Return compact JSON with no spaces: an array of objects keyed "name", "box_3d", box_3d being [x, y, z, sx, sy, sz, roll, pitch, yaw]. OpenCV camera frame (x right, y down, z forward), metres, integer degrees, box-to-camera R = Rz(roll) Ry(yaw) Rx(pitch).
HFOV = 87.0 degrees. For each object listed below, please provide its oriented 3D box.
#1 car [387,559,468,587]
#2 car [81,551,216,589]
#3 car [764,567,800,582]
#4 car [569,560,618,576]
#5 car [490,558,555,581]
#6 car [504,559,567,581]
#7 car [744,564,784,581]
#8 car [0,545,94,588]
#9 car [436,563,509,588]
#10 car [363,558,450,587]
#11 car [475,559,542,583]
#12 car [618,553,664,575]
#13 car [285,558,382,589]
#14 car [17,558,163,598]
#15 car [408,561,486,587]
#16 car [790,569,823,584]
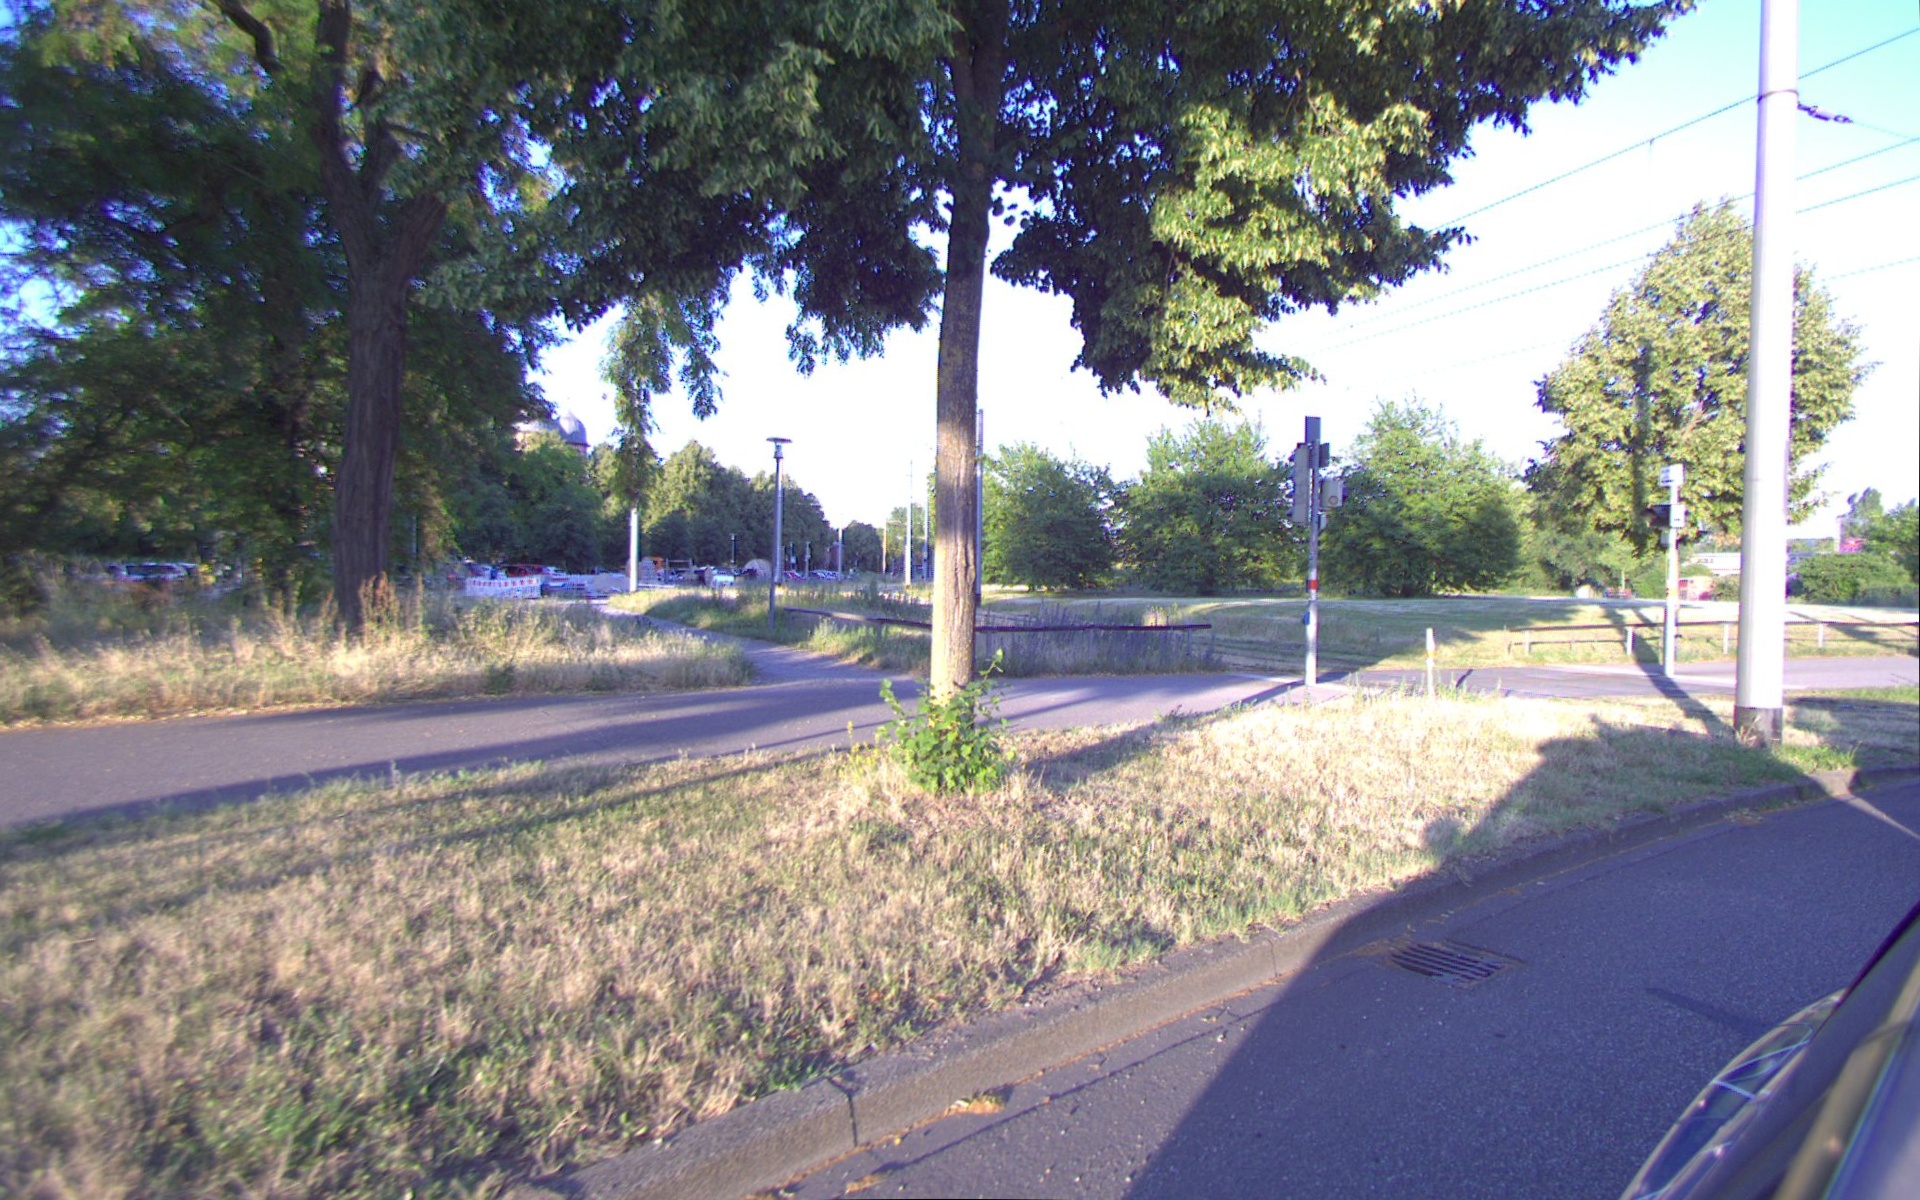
[{"name":"car","box_3d":[-32.124,-1.638,61.162,3.923,1.573,1.904,1,1,-1]},{"name":"car","box_3d":[-32.915,-1.209,41.117,3.923,1.463,1.954,1,1,-1]},{"name":"car","box_3d":[-18.604,-2.667,105.840,3.540,1.500,1.712,2,0,-4]},{"name":"car","box_3d":[-31.686,-2.805,87.564,3.606,1.370,1.802,0,2,-4]},{"name":"car","box_3d":[-31.698,-2.211,73.369,3.923,1.573,1.904,1,1,-1]},{"name":"car","box_3d":[-31.781,-2.250,75.814,3.923,1.573,1.904,1,1,-1]},{"name":"car","box_3d":[-18.589,-2.624,96.271,3.540,1.500,1.712,2,0,-4]},{"name":"car","box_3d":[-33.690,-1.204,36.102,3.923,1.463,1.954,1,1,-1]},{"name":"car","box_3d":[-31.966,-1.644,66.464,3.923,1.573,1.904,1,1,-1]},{"name":"car","box_3d":[-31.942,-1.603,58.494,4.020,1.573,1.904,1,1,-1]},{"name":"car","box_3d":[-31.612,-2.040,70.947,3.923,1.573,1.904,1,1,-1]},{"name":"car","box_3d":[-31.670,-3.528,100.505,3.923,2.121,1.904,1,1,-1]},{"name":"car","box_3d":[-33.030,-1.411,53.440,3.923,1.573,1.904,1,1,-1]},{"name":"car","box_3d":[-33.245,-0.849,38.762,3.923,1.463,1.954,1,1,-1]},{"name":"car","box_3d":[-32.113,-1.620,63.444,3.923,1.573,1.904,1,1,-1]},{"name":"car","box_3d":[-17.271,-2.661,113.785,3.540,1.500,1.712,2,0,-4]}]
